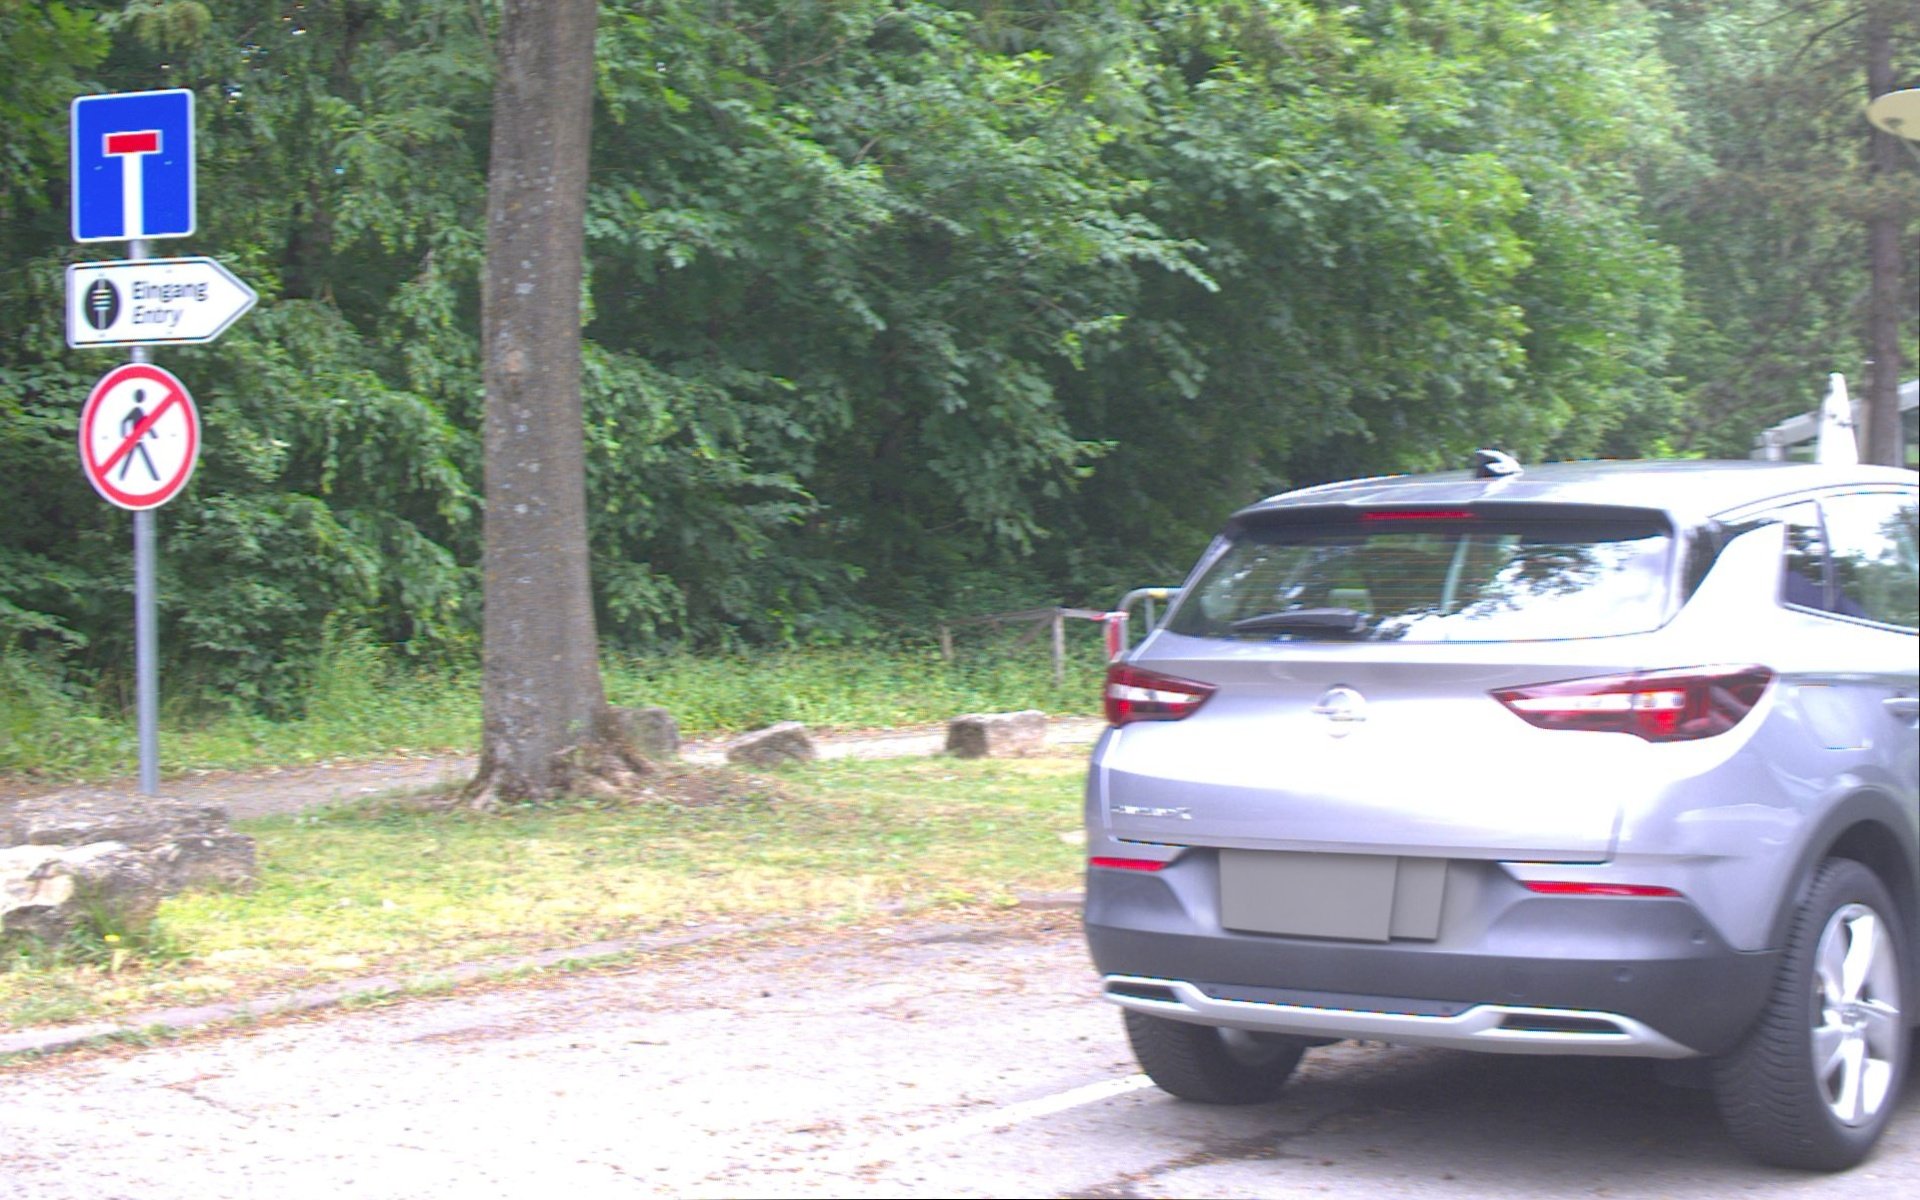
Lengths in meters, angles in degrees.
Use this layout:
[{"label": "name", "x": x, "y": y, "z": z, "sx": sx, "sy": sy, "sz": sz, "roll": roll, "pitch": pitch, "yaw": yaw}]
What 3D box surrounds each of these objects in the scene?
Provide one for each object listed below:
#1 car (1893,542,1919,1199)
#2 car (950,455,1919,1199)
[{"label": "car", "x": 3.549, "y": 0.583, "z": 6.942, "sx": 1.897, "sy": 1.423, "sz": 3.992, "roll": 1, "pitch": 2, "yaw": 36}, {"label": "car", "x": 1.931, "y": 0.451, "z": 9.048, "sx": 1.897, "sy": 1.579, "sz": 3.992, "roll": 1, "pitch": 2, "yaw": 37}]
